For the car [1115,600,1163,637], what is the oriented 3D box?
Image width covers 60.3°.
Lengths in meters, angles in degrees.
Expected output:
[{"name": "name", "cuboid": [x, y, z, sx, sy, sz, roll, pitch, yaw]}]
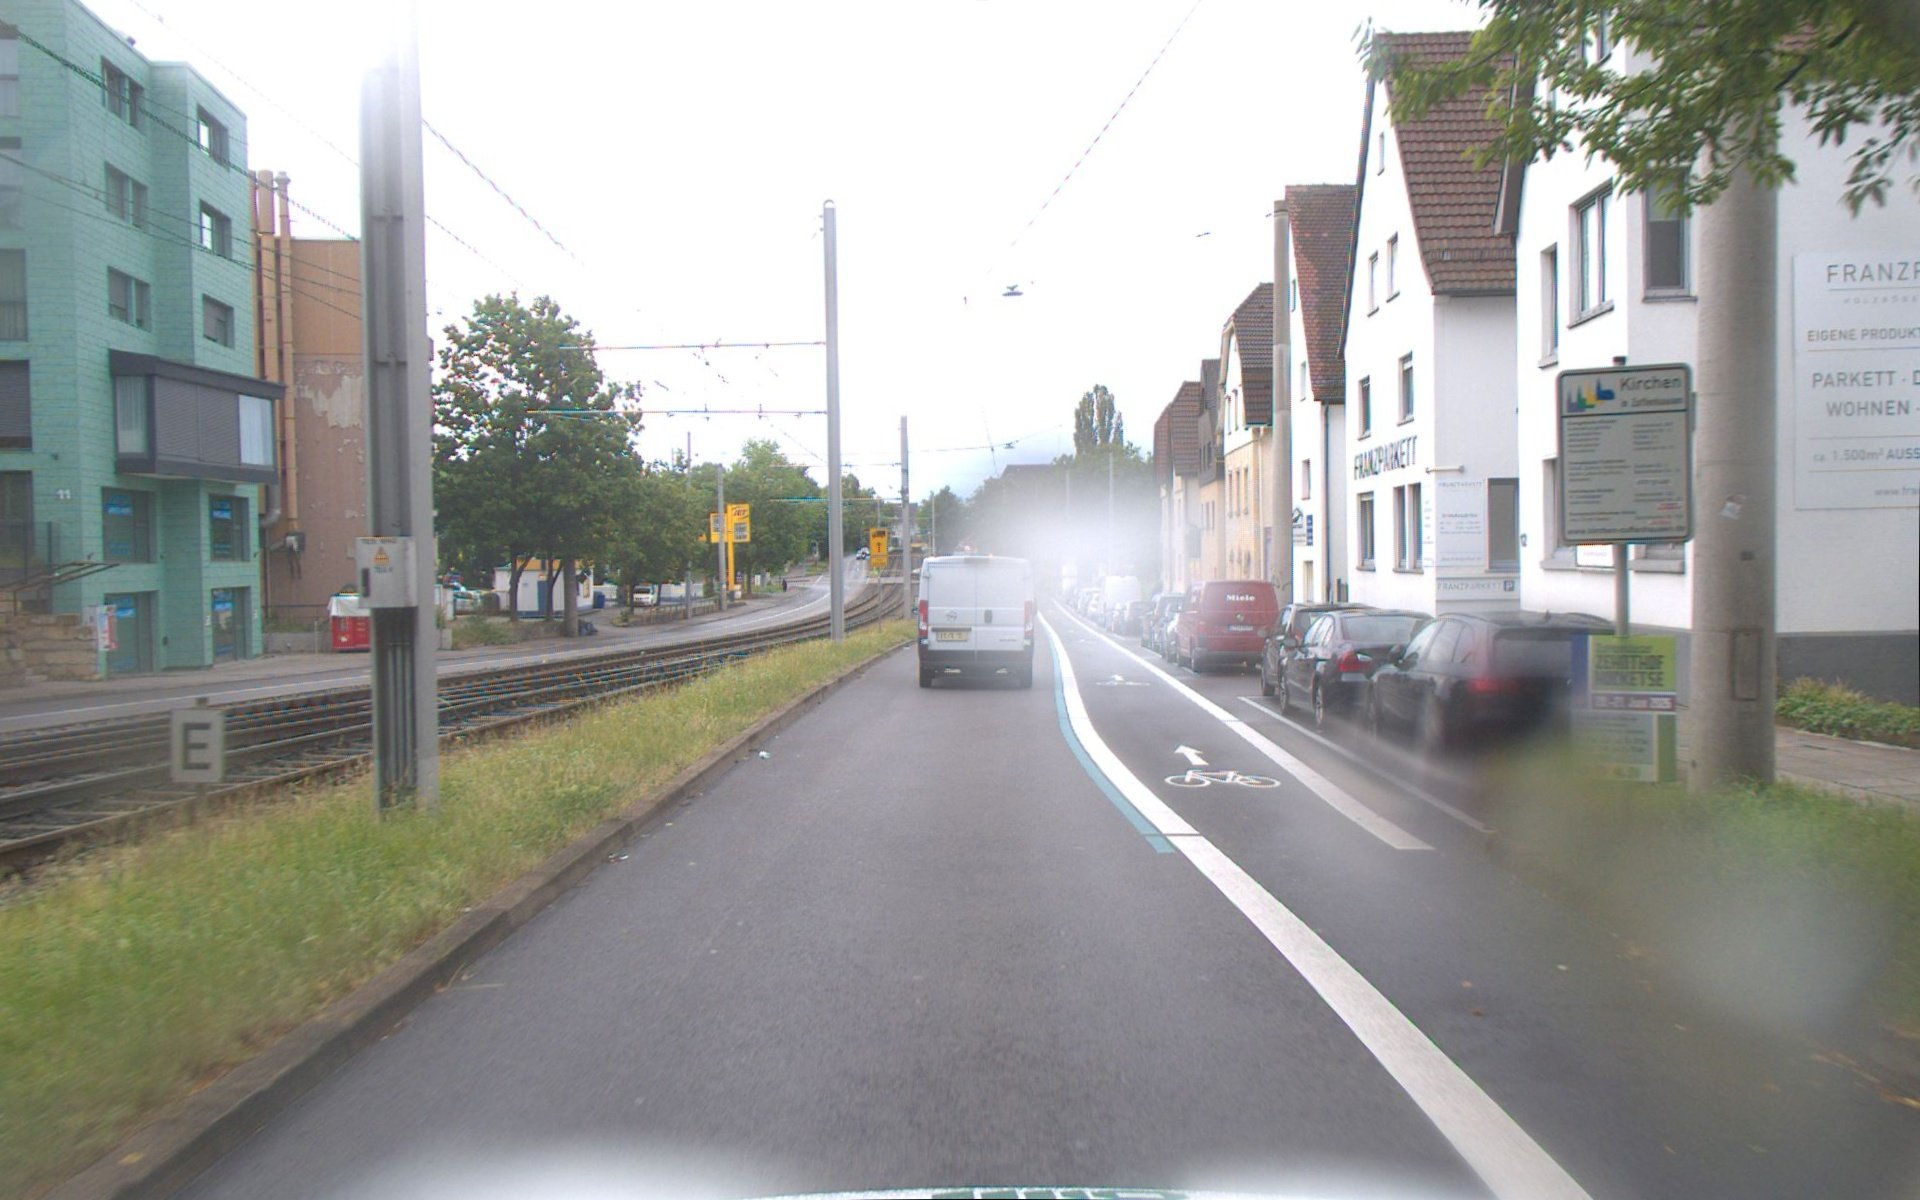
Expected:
[{"name": "car", "cuboid": [7.737, 0.780, 71.608, 1.534, 1.524, 3.511, 1, 0, -2]}]

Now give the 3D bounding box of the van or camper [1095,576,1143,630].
[{"name": "van or camper", "cuboid": [8.121, 0.109, 84.861, 1.952, 2.608, 6.044, 1, 1, 1]}]

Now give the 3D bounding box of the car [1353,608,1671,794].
[{"name": "car", "cuboid": [4.900, 0.805, 15.349, 1.642, 1.448, 4.567, 0, 0, 3]}]

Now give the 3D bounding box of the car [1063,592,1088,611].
[{"name": "car", "cuboid": [9.429, 0.129, 135.085, 1.810, 1.526, 3.954, 1, 0, 0]}]

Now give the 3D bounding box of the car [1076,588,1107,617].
[{"name": "car", "cuboid": [8.859, 0.177, 111.710, 1.711, 1.839, 3.955, 1, 1, 0]}]

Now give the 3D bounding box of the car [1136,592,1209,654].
[{"name": "car", "cuboid": [6.735, 0.698, 52.830, 1.801, 1.832, 4.687, 1, 0, 1]}]

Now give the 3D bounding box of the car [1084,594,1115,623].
[{"name": "car", "cuboid": [8.488, 0.501, 100.718, 1.612, 1.643, 4.105, 1, 1, 1]}]

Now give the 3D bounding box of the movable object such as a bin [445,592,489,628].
[{"name": "movable object such as a bin", "cuboid": [-28.415, 0.549, 95.450, 1.957, 1.952, 3.564, 1, 1, -10]}]

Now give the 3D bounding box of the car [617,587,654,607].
[{"name": "car", "cuboid": [-23.935, -0.206, 122.104, 1.953, 1.467, 3.999, 1, 0, -1]}]

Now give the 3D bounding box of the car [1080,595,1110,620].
[{"name": "car", "cuboid": [8.645, 0.479, 106.194, 1.612, 1.471, 3.955, 1, 1, 1]}]

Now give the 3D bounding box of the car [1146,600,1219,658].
[{"name": "car", "cuboid": [6.428, 0.821, 48.079, 1.600, 1.565, 4.136, 1, 0, 1]}]

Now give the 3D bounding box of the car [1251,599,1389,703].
[{"name": "car", "cuboid": [5.557, 0.774, 25.891, 1.545, 1.477, 3.721, -1, -1, 4]}]

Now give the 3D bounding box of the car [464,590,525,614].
[{"name": "car", "cuboid": [-31.351, 0.142, 111.368, 3.715, 1.505, 1.563, 1, 0, -25]}]

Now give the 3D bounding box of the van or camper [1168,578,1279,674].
[{"name": "van or camper", "cuboid": [5.789, 0.543, 36.823, 1.812, 1.954, 4.996, -1, 0, 2]}]

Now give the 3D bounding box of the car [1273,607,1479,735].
[{"name": "car", "cuboid": [5.138, 0.817, 21.026, 1.676, 1.437, 4.567, 0, 0, 3]}]

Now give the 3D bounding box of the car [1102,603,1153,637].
[{"name": "car", "cuboid": [7.802, 0.916, 77.562, 1.752, 1.430, 4.551, 1, 1, -2]}]

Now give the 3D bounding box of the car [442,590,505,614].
[{"name": "car", "cuboid": [-31.538, 0.118, 107.172, 3.715, 1.479, 1.540, 1, 0, -25]}]

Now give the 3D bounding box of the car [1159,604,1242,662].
[{"name": "car", "cuboid": [6.095, 0.806, 42.350, 1.758, 1.400, 4.672, 0, 0, 4]}]

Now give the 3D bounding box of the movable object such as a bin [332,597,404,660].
[{"name": "movable object such as a bin", "cuboid": [-21.542, 1.020, 60.238, 2.093, 2.194, 1.800, 1, 1, -7]}]

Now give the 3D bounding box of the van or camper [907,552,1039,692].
[{"name": "van or camper", "cuboid": [0.137, 0.373, 29.871, 2.155, 2.292, 4.682, 1, 0, -2]}]
